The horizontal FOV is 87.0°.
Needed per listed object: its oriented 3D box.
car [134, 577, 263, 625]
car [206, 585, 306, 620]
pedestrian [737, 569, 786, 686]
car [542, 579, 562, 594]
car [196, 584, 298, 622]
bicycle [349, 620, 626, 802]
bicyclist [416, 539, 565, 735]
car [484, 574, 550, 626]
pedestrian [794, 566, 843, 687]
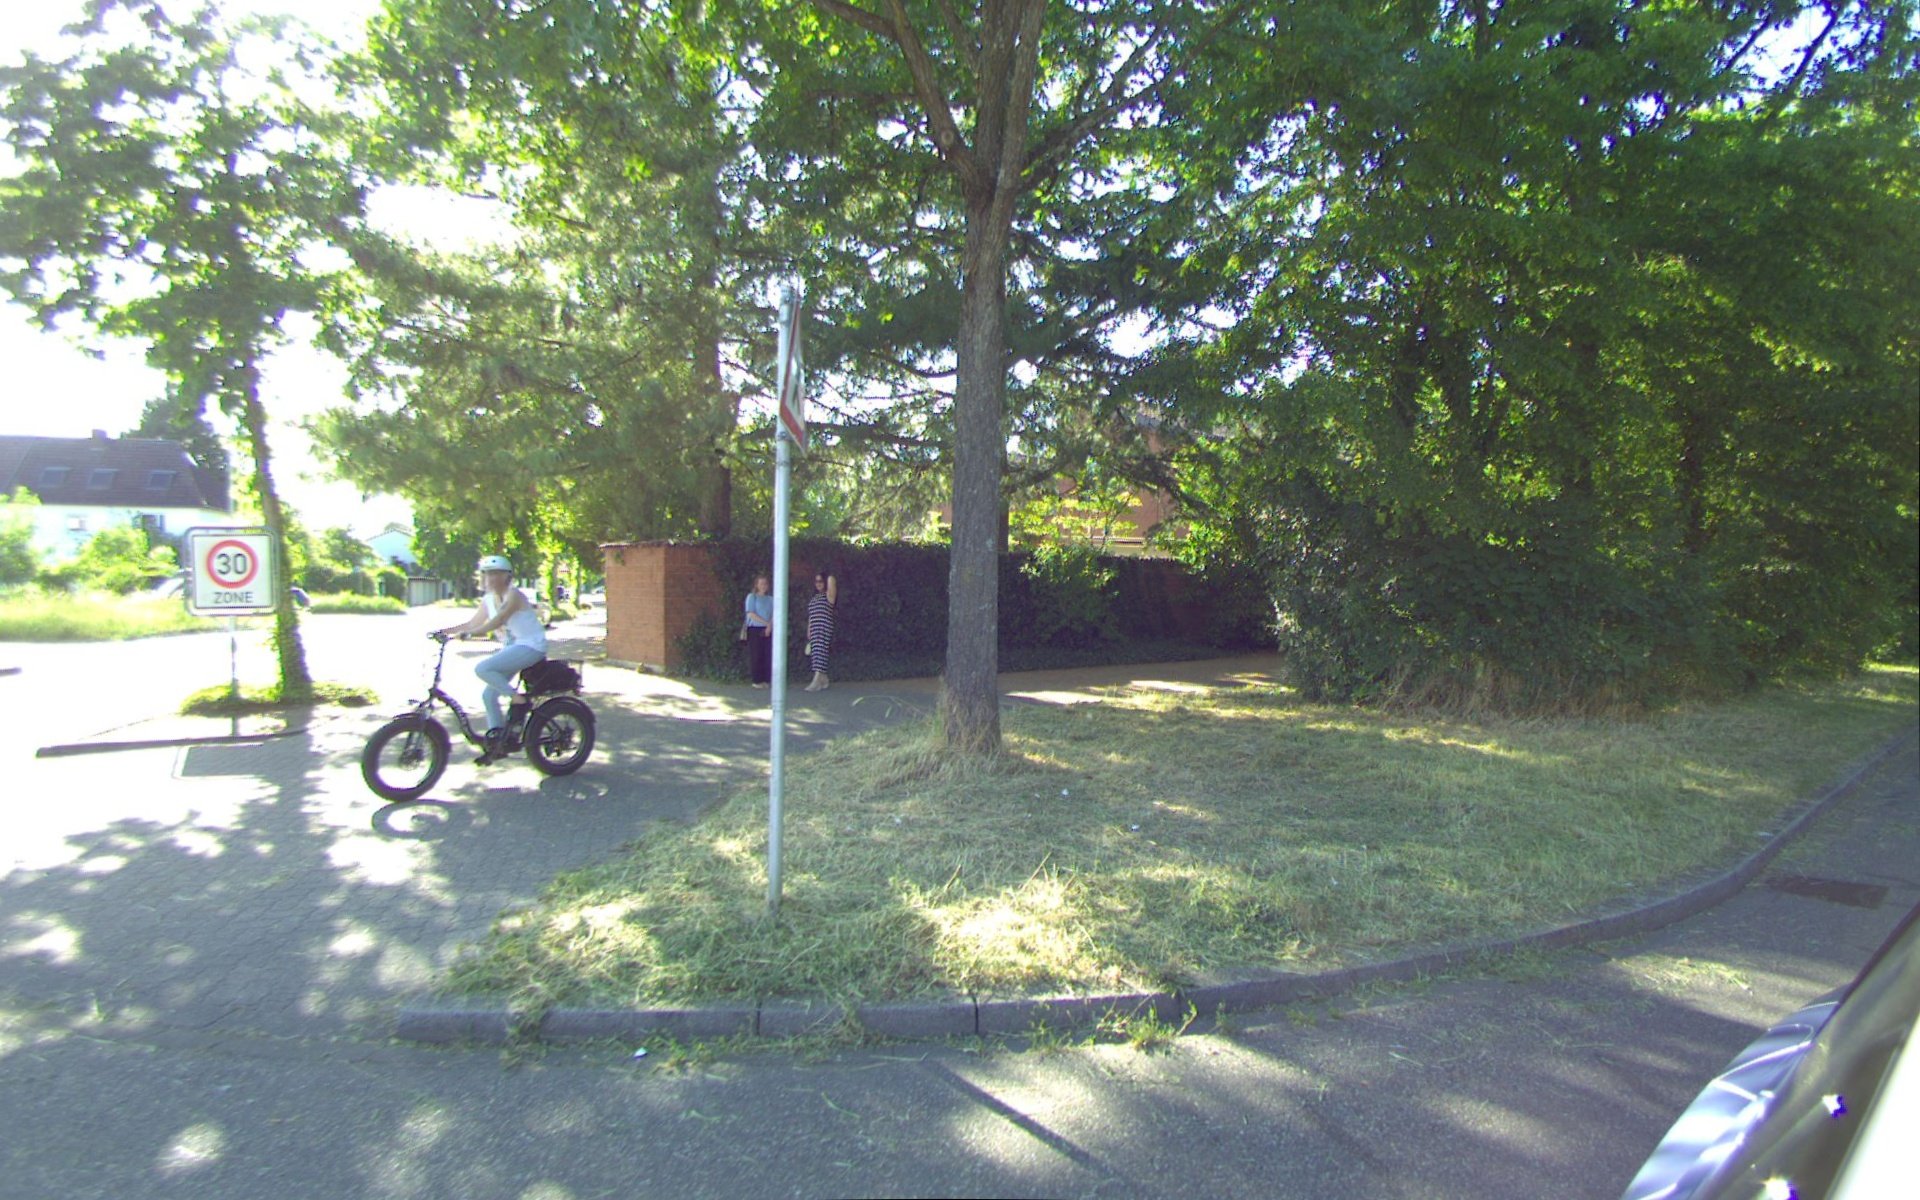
[{"bbox_3d":[-28.762,-0.013,38.310,1.739,1.738,3.602,1,1,37],"label":"car"},{"bbox_3d":[-30.589,0.066,44.013,3.472,1.434,1.679,-1,1,-39],"label":"car"},{"bbox_3d":[-2.675,0.358,13.635,0.529,1.539,0.395,0,1,-41],"label":"pedestrian"},{"bbox_3d":[-51.506,-1.683,127.654,1.958,1.838,4.009,0,1,-16],"label":"car"},{"bbox_3d":[-29.207,0.090,41.495,3.334,1.459,1.614,-1,1,-39],"label":"car"},{"bbox_3d":[-3.469,0.758,7.595,0.456,1.159,1.870,1,1,40],"label":"bicycle"},{"bbox_3d":[-3.495,0.246,7.556,0.636,1.364,0.826,1,1,40],"label":"bicyclist"},{"bbox_3d":[-15.174,-0.045,34.826,1.958,1.679,4.008,0,1,-22],"label":"car"},{"bbox_3d":[-1.890,0.336,13.532,0.392,1.580,0.533,2,1,28],"label":"pedestrian"}]
